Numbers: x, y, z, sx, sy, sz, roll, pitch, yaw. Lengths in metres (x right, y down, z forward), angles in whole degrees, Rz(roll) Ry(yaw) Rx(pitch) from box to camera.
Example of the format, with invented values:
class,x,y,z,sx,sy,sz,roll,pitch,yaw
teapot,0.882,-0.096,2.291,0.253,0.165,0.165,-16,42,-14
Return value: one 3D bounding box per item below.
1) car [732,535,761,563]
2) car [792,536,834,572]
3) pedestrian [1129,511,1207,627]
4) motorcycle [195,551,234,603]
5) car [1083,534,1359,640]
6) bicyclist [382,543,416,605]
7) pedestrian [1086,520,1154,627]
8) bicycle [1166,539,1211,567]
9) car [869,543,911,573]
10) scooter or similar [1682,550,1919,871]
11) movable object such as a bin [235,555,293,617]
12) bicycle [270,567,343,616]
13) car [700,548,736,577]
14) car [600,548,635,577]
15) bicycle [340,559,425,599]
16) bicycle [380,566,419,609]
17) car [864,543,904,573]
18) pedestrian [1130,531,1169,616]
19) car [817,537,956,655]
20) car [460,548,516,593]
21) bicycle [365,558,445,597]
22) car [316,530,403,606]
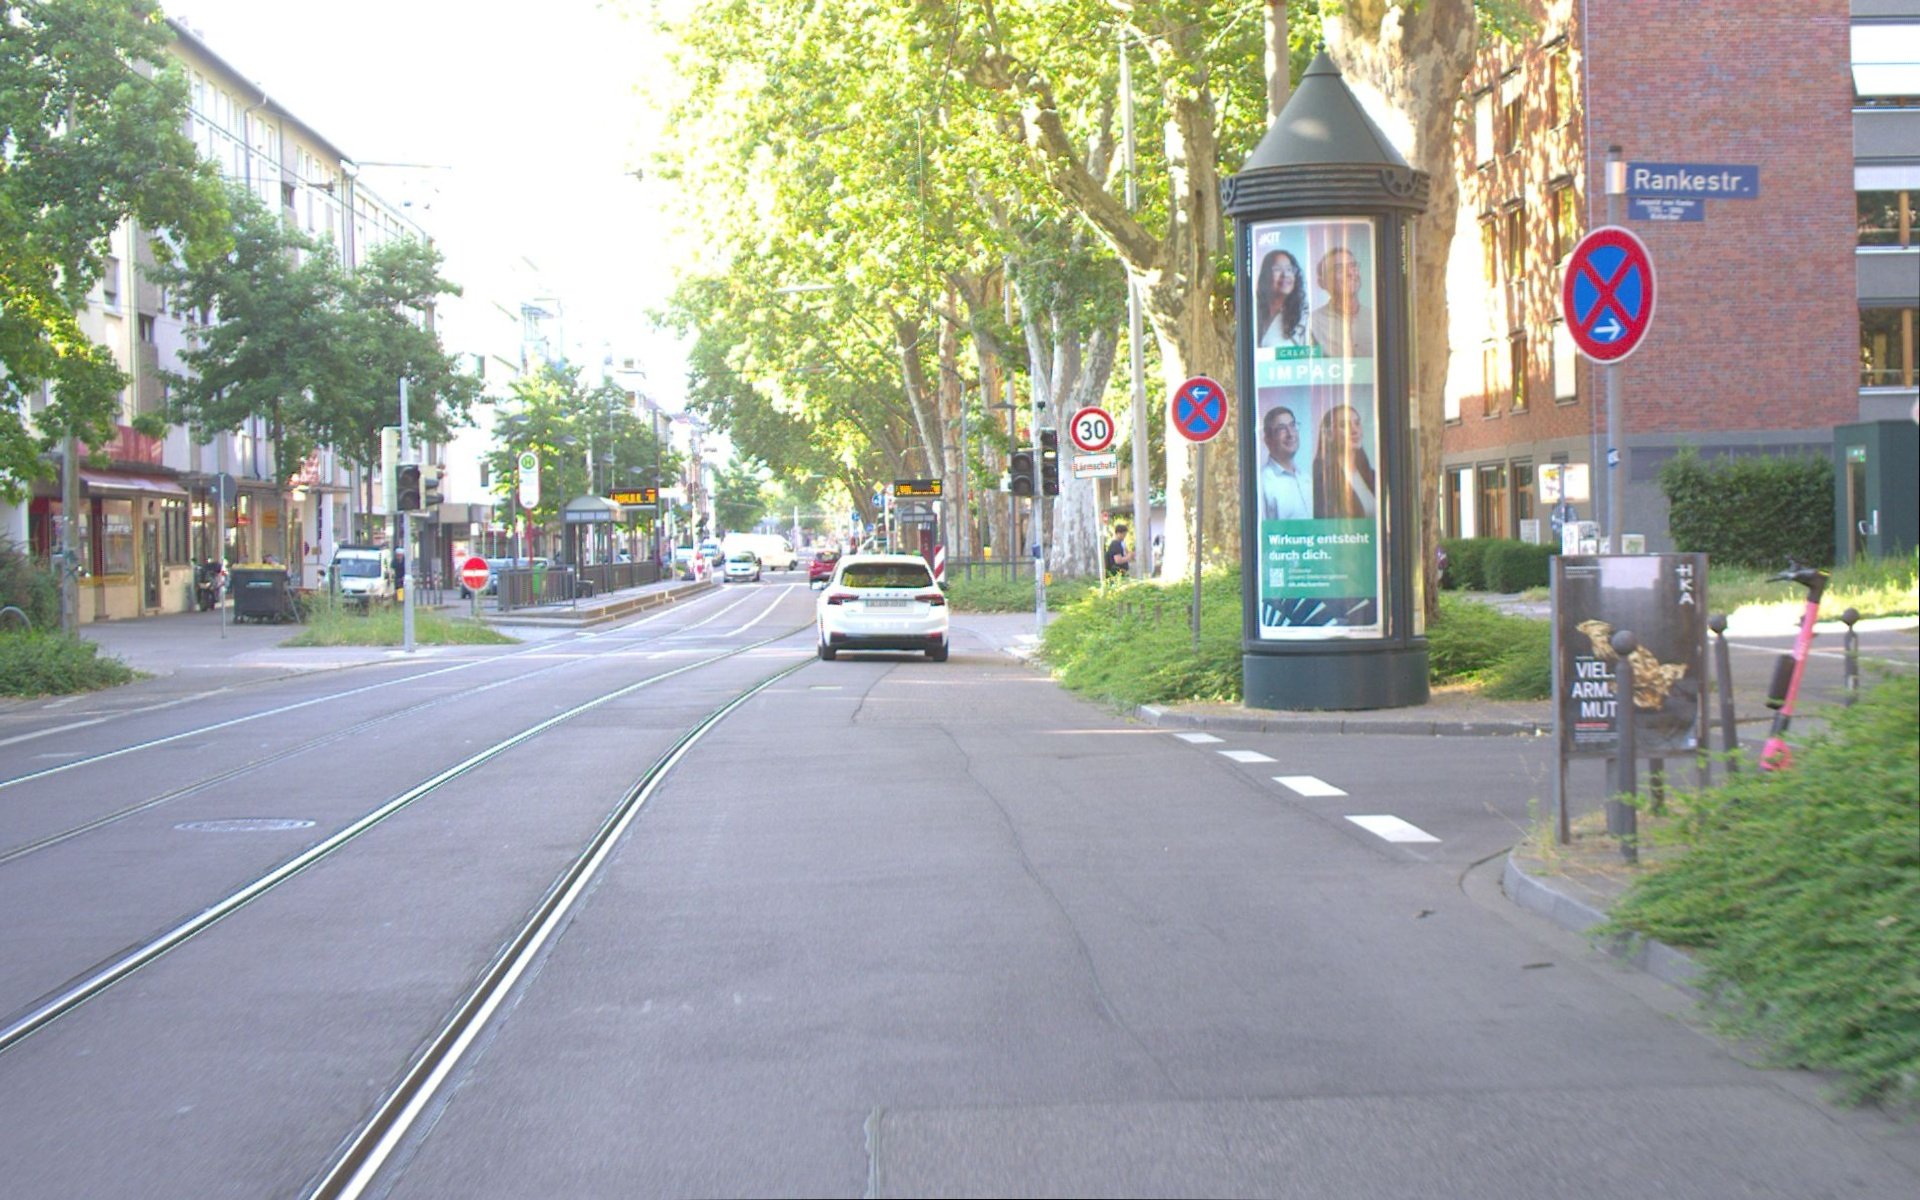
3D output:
class,x,y,z,sx,sy,sz,roll,pitch,yaw
car,-14.959,-3.595,240.958,1.866,1.886,4.001,-2,1,-2
car,-6.399,-2.007,149.740,1.788,1.508,4.001,-2,1,-2
pedestrian,3.479,-0.522,57.547,0.982,1.857,1.016,-5,1,-7
motorcycle,-19.467,-0.608,89.784,0.599,1.306,2.222,-2,1,-2
car,3.766,-0.201,50.052,3.885,1.418,1.648,-2,1,1
bicyclist,-13.347,-0.619,81.776,0.641,1.450,0.837,-2,1,-3
pedestrian,2.756,-0.465,59.340,0.994,1.805,0.864,-2,1,-7
bicycle,8.623,-1.773,129.727,1.567,1.034,0.479,-1,1,19
car,-3.547,-2.120,172.576,1.993,1.448,4.001,-2,1,-2
scooter or similar,3.611,0.429,13.900,1.208,1.235,0.570,-2,0,-4
movable object such as a bin,-15.737,-0.321,77.729,1.169,1.344,0.783,2,1,-6
bicycle,-15.168,-0.196,79.822,1.533,1.071,0.885,2,1,-3
car,-12.333,-1.922,175.484,1.693,1.414,4.001,-2,1,-2
car,-18.868,-2.083,189.723,1.677,1.543,4.001,1,1,-2
bicycle,-16.283,-0.592,96.940,2.253,1.070,0.636,2,1,-1
bicycle,-13.325,-0.306,81.772,0.641,0.983,2.101,-2,1,-3
car,-3.936,-2.191,177.653,1.993,1.448,4.001,-2,1,-2
pedestrian,3.753,-0.528,68.182,0.652,1.663,0.738,-2,1,-3
car,-1.044,-0.088,47.135,1.788,1.508,4.001,-2,1,-2
car,-16.904,-1.079,123.212,1.593,1.543,4.001,1,1,-2
bicycle,-16.518,-0.679,102.280,2.253,1.070,0.636,2,1,-1
car,-15.880,-0.858,91.071,1.688,1.933,4.001,-2,1,-2
